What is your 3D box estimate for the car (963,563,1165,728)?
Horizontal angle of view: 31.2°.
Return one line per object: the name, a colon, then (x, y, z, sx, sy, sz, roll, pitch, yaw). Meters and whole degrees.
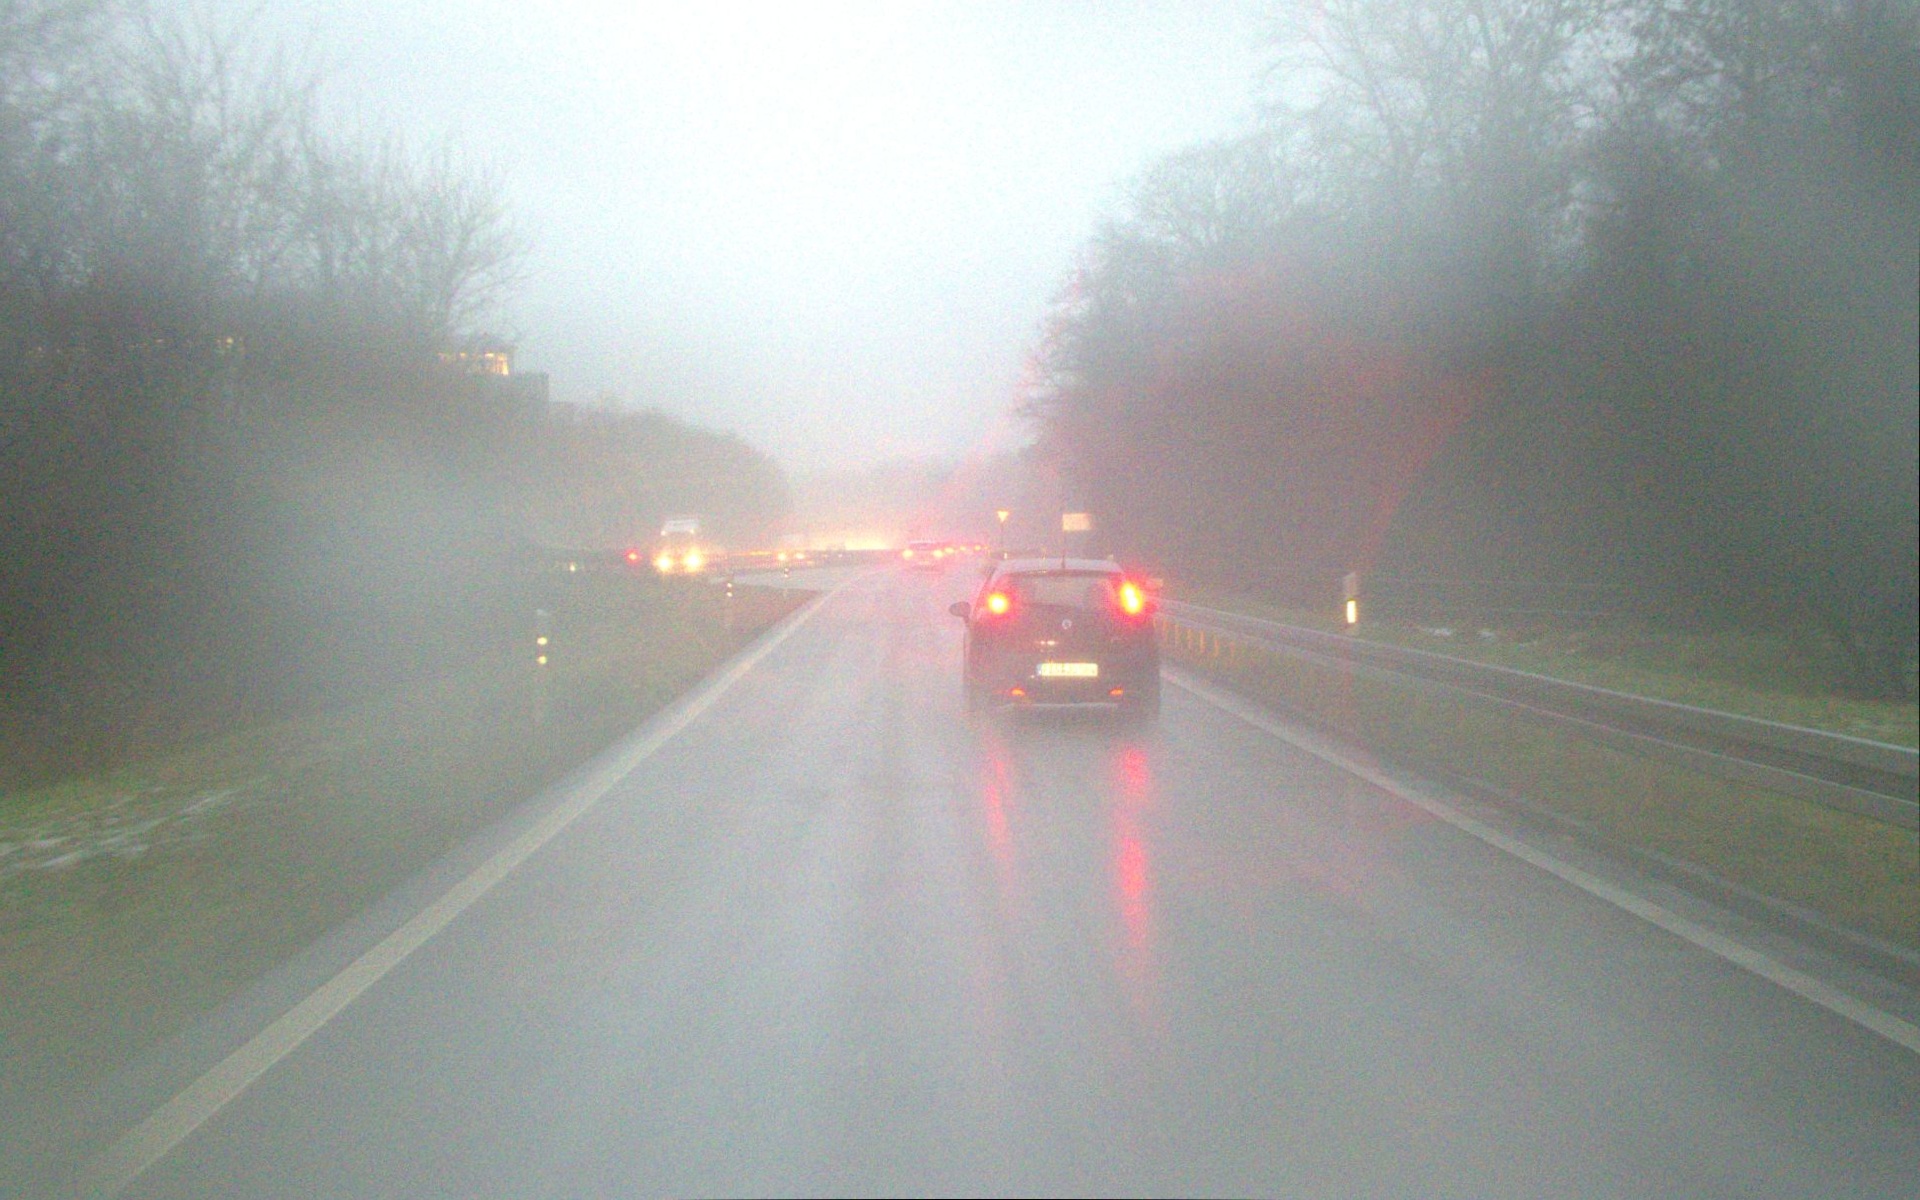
car: (0.911, 0.381, 31.926, 1.732, 1.424, 3.765, 0, 0, 0)
